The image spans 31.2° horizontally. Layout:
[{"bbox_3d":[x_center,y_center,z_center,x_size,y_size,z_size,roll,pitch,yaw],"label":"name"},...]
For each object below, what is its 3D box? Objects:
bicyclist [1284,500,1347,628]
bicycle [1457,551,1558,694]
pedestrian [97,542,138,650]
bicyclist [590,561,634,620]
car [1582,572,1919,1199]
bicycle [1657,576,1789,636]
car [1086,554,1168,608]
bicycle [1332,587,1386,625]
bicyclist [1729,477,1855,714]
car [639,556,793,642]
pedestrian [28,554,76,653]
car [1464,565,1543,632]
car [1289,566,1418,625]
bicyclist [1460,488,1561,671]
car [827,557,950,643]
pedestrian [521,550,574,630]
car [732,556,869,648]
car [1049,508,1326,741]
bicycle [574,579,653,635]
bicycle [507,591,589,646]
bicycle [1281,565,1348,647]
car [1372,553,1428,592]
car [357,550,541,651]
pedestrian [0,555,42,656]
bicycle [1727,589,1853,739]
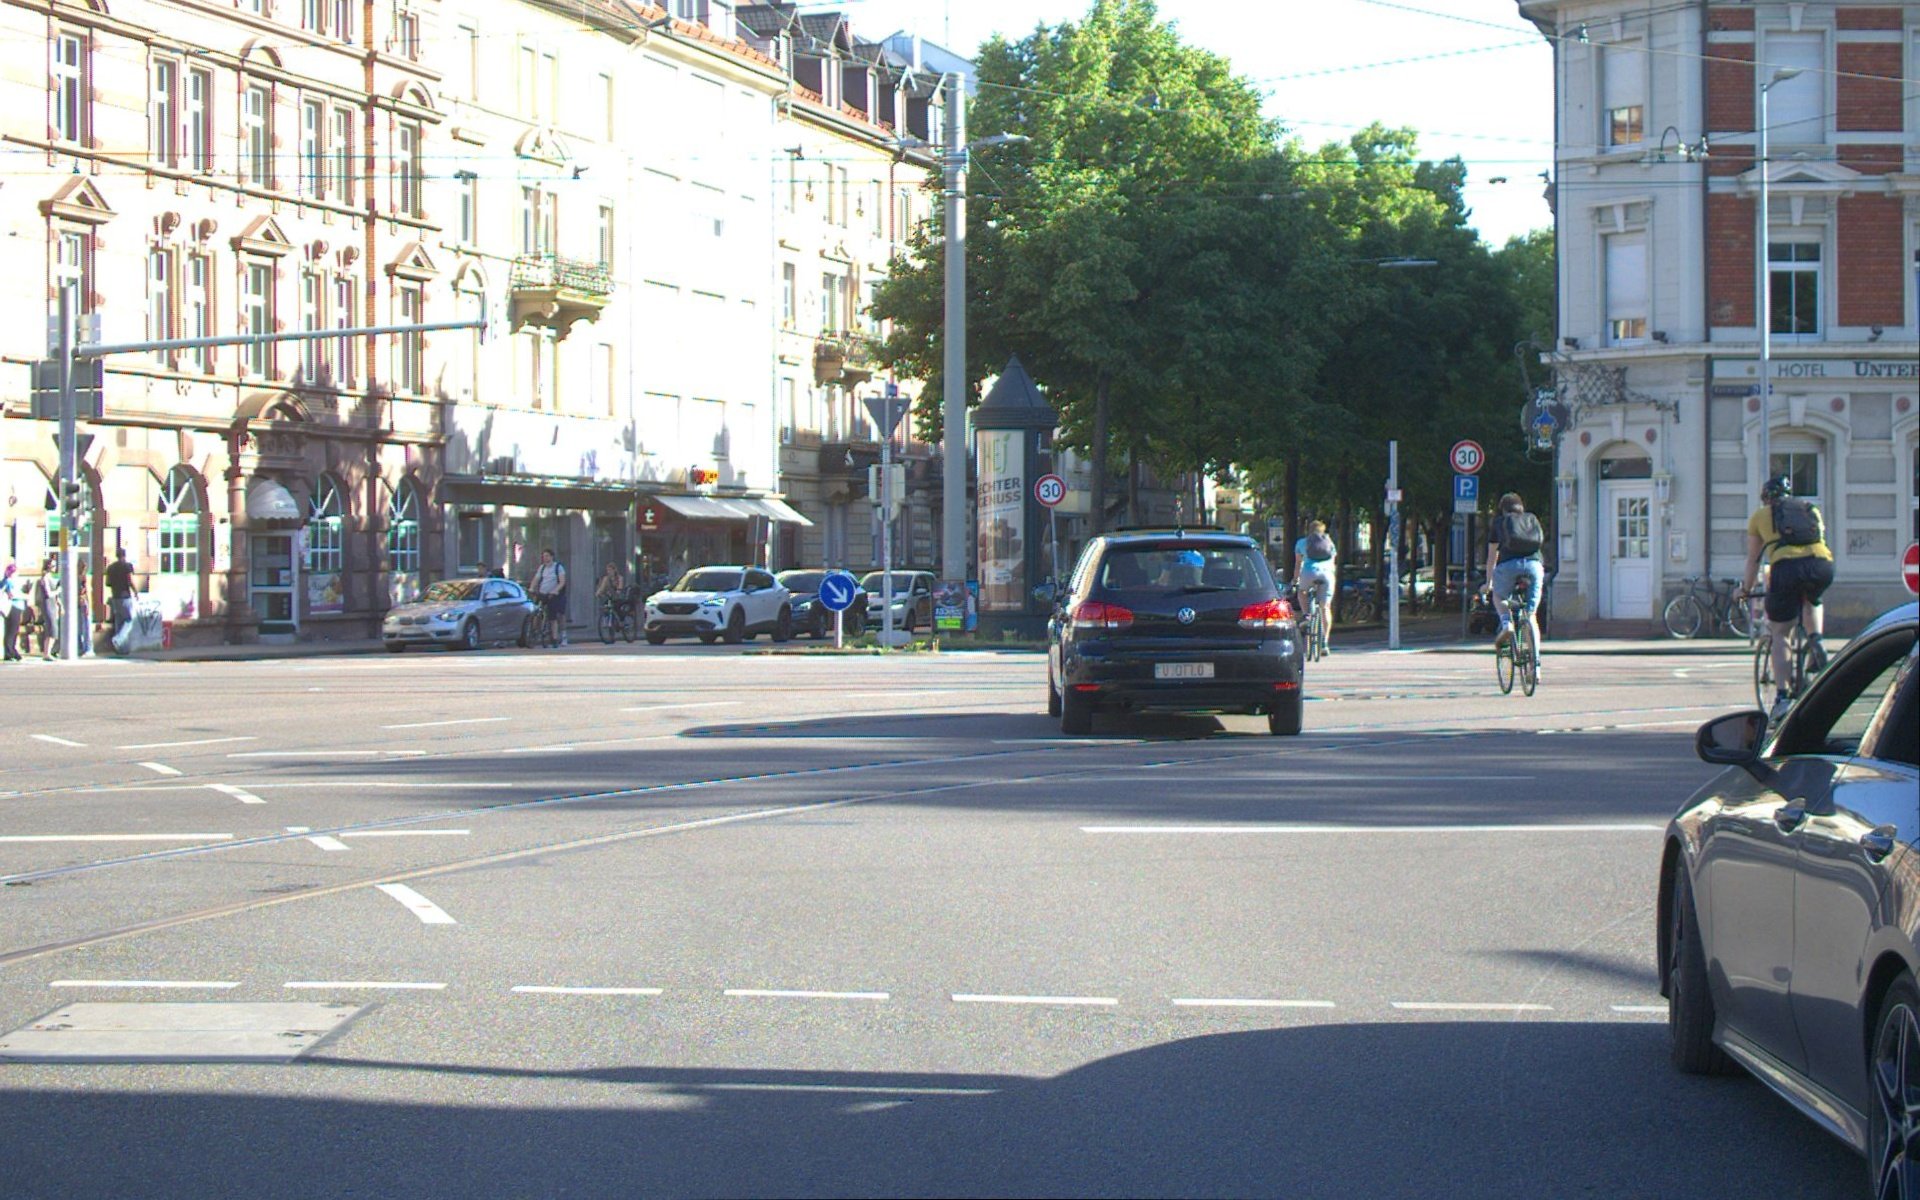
[{"bbox_3d":[4.583,-0.467,44.313,0.689,1.627,0.883,1,0,-1],"label":"bicyclist"},{"bbox_3d":[4.874,0.185,30.710,0.755,1.232,1.702,1,0,5],"label":"bicycle"},{"bbox_3d":[-14.829,-0.073,60.492,0.464,1.875,0.635,1,0,10],"label":"pedestrian"},{"bbox_3d":[-7.114,-0.191,70.276,0.632,1.181,0.684,1,0,21],"label":"bicyclist"},{"bbox_3d":[2.804,0.658,8.008,1.907,1.415,4.493,1,1,0],"label":"car"},{"bbox_3d":[12.669,0.097,57.116,2.049,0.994,0.630,0,0,3],"label":"bicycle"},{"bbox_3d":[5.987,-0.683,122.671,1.995,1.897,3.997,1,1,17],"label":"car"},{"bbox_3d":[11.504,0.170,99.074,0.626,1.081,1.703,1,1,-31],"label":"bicycle"},{"bbox_3d":[5.958,-0.039,24.598,0.806,1.657,0.883,1,0,17],"label":"bicyclist"},{"bbox_3d":[-4.738,-0.034,67.411,1.994,1.612,3.998,1,1,11],"label":"car"},{"bbox_3d":[-15.117,0.053,57.257,0.633,1.628,0.701,1,0,-4],"label":"pedestrian"},{"bbox_3d":[13.067,-0.047,82.595,1.692,1.559,3.839,1,1,11],"label":"car"},{"bbox_3d":[13.160,-0.163,114.977,3.990,1.897,1.998,1,0,16],"label":"car"},{"bbox_3d":[4.915,-0.188,30.754,0.806,1.601,0.883,1,0,5],"label":"bicyclist"},{"bbox_3d":[-1.626,-0.015,79.801,1.994,1.897,3.998,1,1,11],"label":"car"},{"bbox_3d":[-7.830,-0.187,65.211,0.821,1.507,0.598,1,0,15],"label":"pedestrian"},{"bbox_3d":[-3.385,0.022,73.588,1.994,1.897,3.998,1,1,11],"label":"car"},{"bbox_3d":[1.614,0.116,25.604,1.728,1.502,4.051,1,2,-1],"label":"car"},{"bbox_3d":[-7.087,0.139,70.325,0.651,1.119,2.250,1,1,21],"label":"bicycle"},{"bbox_3d":[-7.816,0.340,65.290,0.763,1.004,2.395,1,1,13],"label":"bicycle"},{"bbox_3d":[4.581,0.068,44.478,0.649,1.028,1.771,1,1,-1],"label":"bicycle"},{"bbox_3d":[17.256,-1.067,134.632,1.560,1.508,3.653,1,1,17],"label":"car"},{"bbox_3d":[-9.932,-0.004,67.140,1.995,1.897,3.997,1,1,17],"label":"car"},{"bbox_3d":[-15.334,0.081,55.908,0.633,1.628,0.701,1,0,-4],"label":"pedestrian"},{"bbox_3d":[6.004,0.443,24.812,0.755,1.027,1.779,1,1,17],"label":"bicycle"}]
